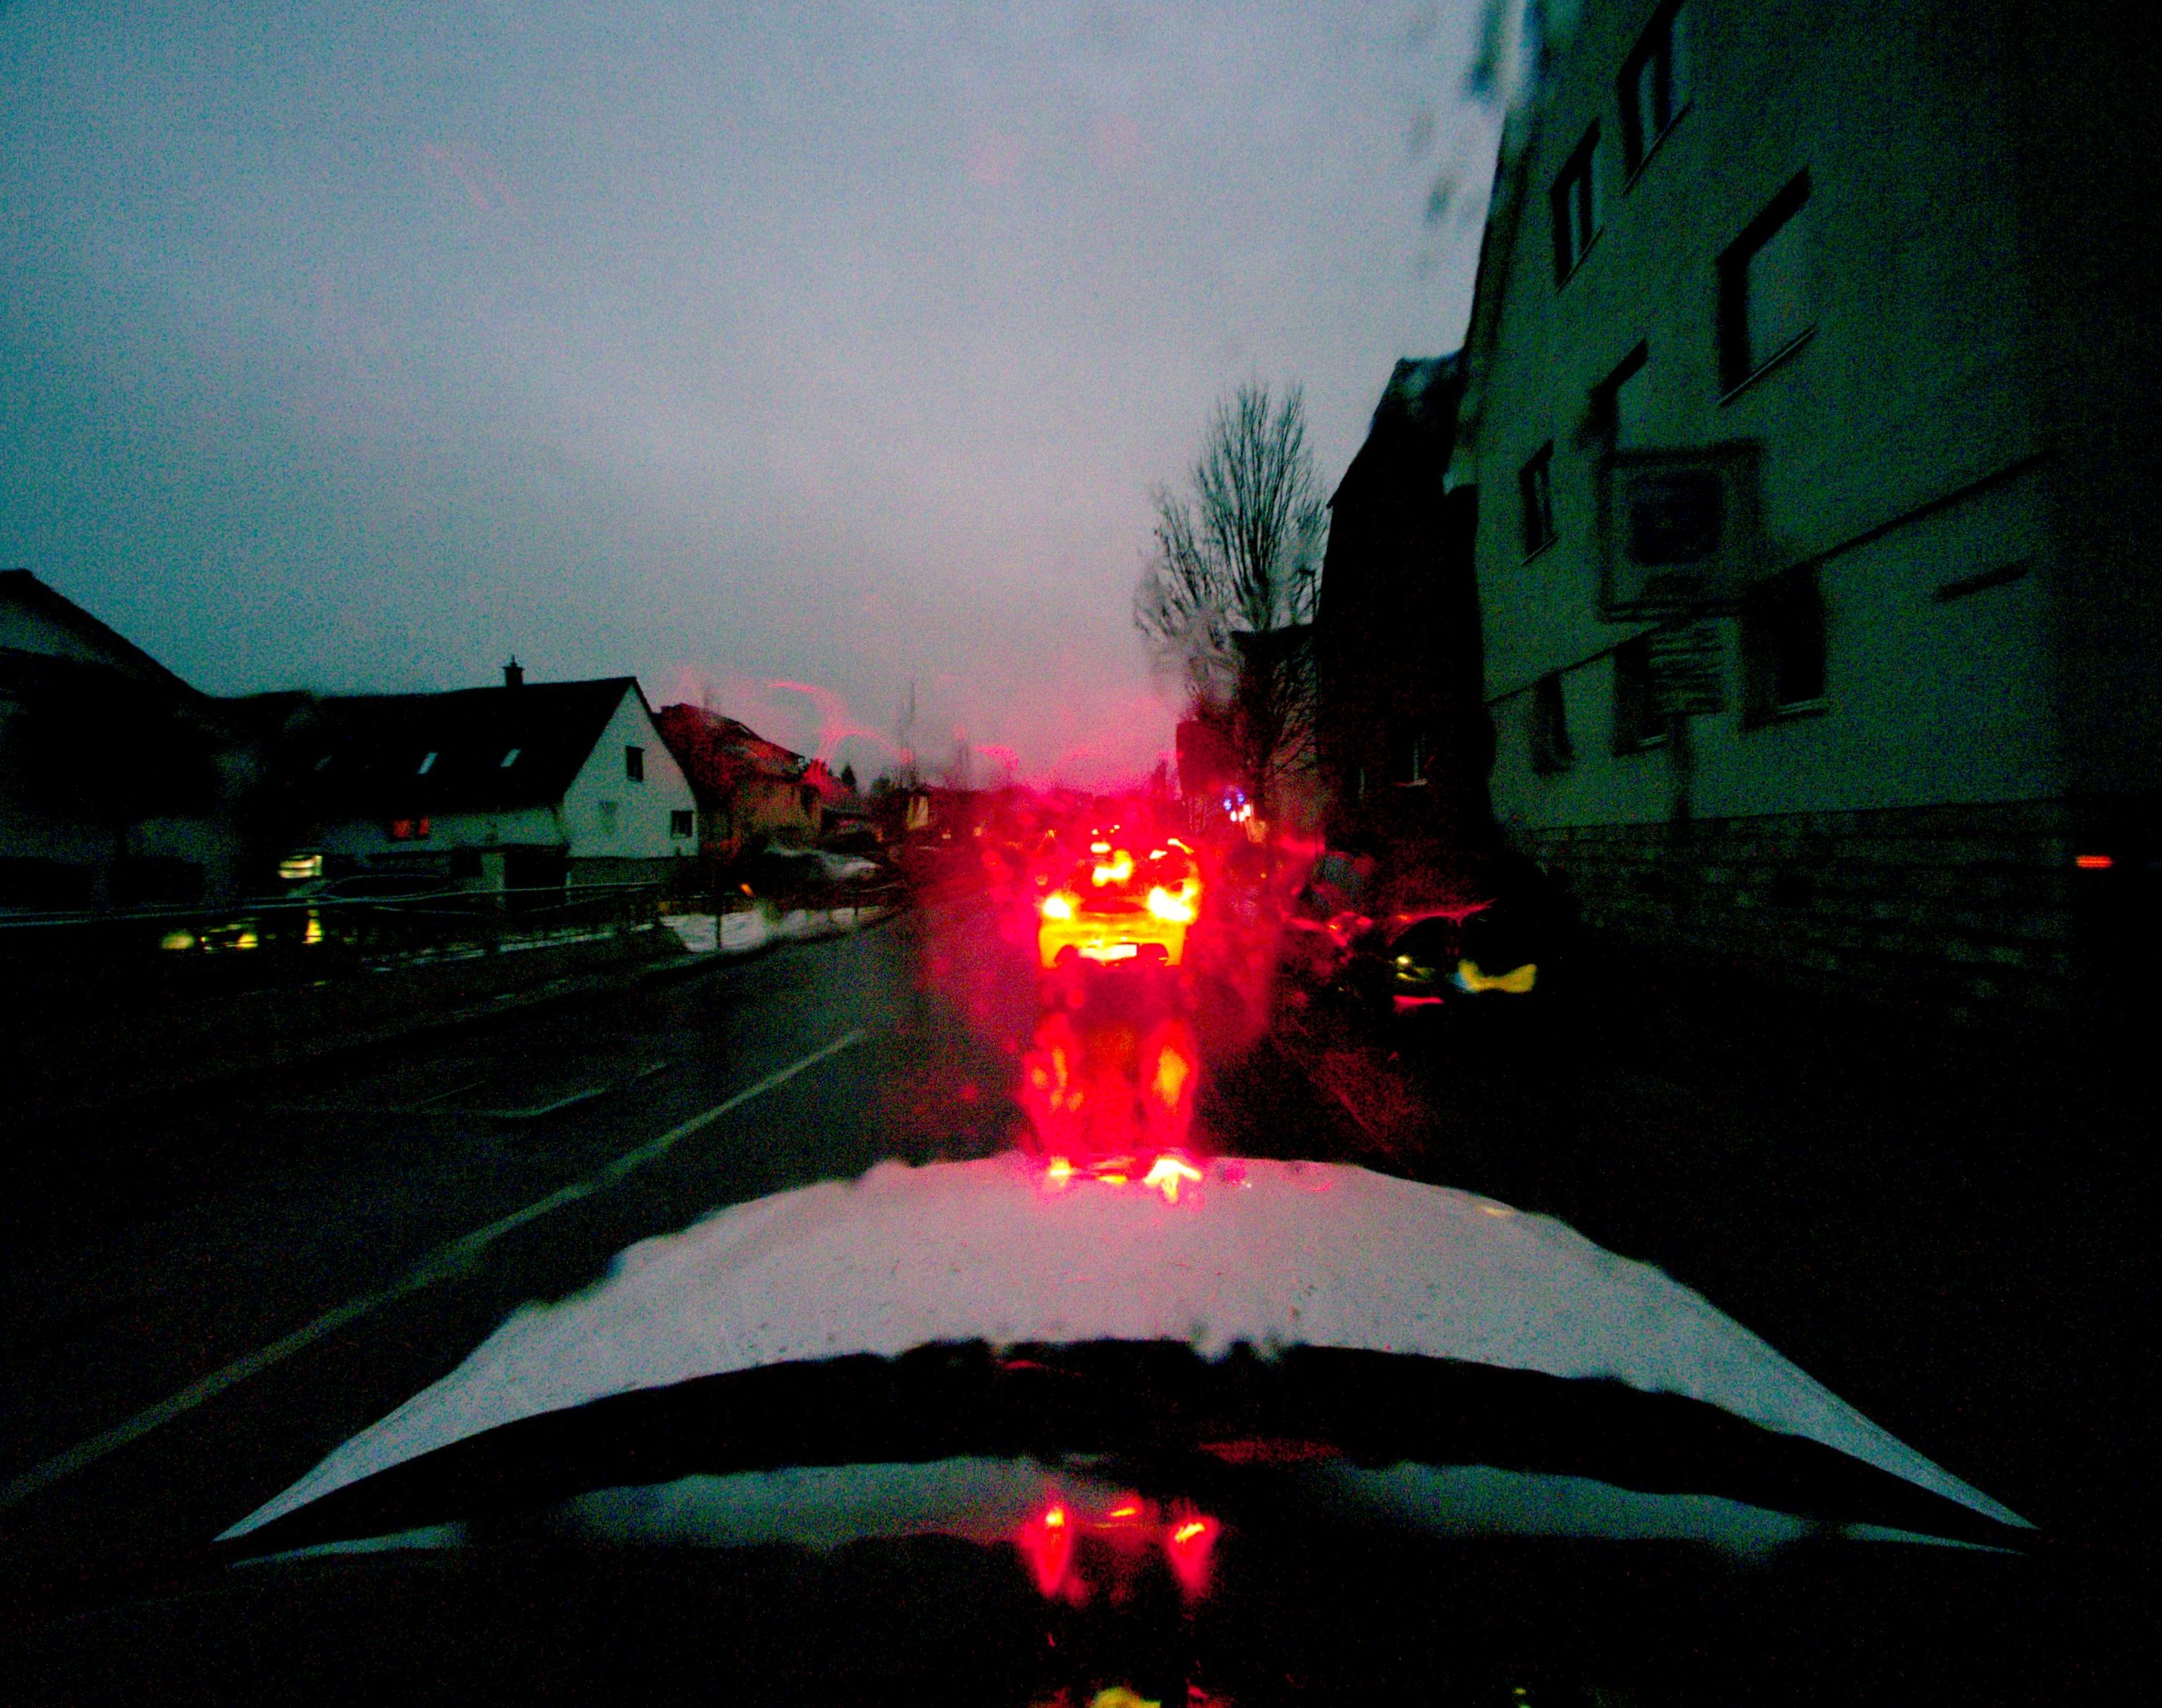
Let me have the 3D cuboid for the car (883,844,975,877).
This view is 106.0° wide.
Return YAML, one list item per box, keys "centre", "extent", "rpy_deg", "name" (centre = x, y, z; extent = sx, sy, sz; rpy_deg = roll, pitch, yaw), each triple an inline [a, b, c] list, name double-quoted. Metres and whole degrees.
- centre: [-8.332, 0.331, 44.914]
  extent: [4.611, 1.667, 1.999]
  rpy_deg: [-2, 0, -1]
  name: "car"

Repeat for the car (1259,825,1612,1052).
- centre: [2.938, 0.563, 7.814]
  extent: [1.720, 1.464, 4.204]
  rpy_deg: [-5, 1, 4]
  name: "car"

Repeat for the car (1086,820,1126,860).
- centre: [2.050, -1.093, 69.133]
  extent: [3.180, 3.032, 6.304]
  rpy_deg: [-1, -2, 1]
  name: "car"

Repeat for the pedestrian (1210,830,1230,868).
- centre: [6.494, -0.257, 38.058]
  extent: [0.707, 1.715, 1.039]
  rpy_deg: [-3, 1, 15]
  name: "pedestrian"

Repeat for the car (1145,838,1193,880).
- centre: [3.936, 0.200, 36.944]
  extent: [1.729, 1.692, 4.387]
  rpy_deg: [-2, 0, 1]
  name: "car"

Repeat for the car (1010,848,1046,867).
- centre: [-6.501, 0.427, 98.807]
  extent: [2.011, 2.167, 4.332]
  rpy_deg: [1, -3, -44]
  name: "car"

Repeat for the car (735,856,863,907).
- centre: [-8.876, 0.851, 25.826]
  extent: [3.432, 1.372, 1.601]
  rpy_deg: [-3, 0, 1]
  name: "car"

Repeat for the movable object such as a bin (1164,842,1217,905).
- centre: [2.758, 0.467, 20.724]
  extent: [1.124, 1.420, 1.419]
  rpy_deg: [-5, 1, 4]
  name: "movable object such as a bin"

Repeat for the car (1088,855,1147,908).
- centre: [1.011, 0.737, 23.134]
  extent: [1.535, 1.331, 3.313]
  rpy_deg: [-1, 1, 2]
  name: "car"

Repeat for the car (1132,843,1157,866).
- centre: [5.344, 0.068, 68.958]
  extent: [1.990, 1.865, 4.085]
  rpy_deg: [-2, 0, 2]
  name: "car"

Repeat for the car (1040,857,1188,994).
- centre: [0.409, 0.771, 10.206]
  extent: [1.557, 1.412, 3.019]
  rpy_deg: [-1, 0, 2]
  name: "car"

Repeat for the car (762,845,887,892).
- centre: [-8.992, 0.489, 28.655]
  extent: [3.772, 1.523, 1.719]
  rpy_deg: [-2, 0, 8]
  name: "car"

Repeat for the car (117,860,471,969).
- centre: [-14.122, 0.966, 15.115]
  extent: [1.794, 1.482, 4.578]
  rpy_deg: [-4, 1, 4]
  name: "car"

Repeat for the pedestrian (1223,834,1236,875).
- centre: [6.612, -0.003, 36.247]
  extent: [0.525, 1.800, 0.867]
  rpy_deg: [-1, 1, 12]
  name: "pedestrian"

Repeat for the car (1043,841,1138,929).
- centre: [0.243, 0.570, 17.187]
  extent: [1.760, 1.628, 3.588]
  rpy_deg: [-1, 1, 2]
  name: "car"

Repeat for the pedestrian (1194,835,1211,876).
- centre: [5.267, 0.060, 35.426]
  extent: [0.570, 1.699, 0.653]
  rpy_deg: [-4, 0, 3]
  name: "pedestrian"

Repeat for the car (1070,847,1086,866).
- centre: [-0.321, 0.294, 99.904]
  extent: [1.913, 2.216, 3.974]
  rpy_deg: [-1, -2, 0]
  name: "car"

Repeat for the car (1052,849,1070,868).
- centre: [-2.211, 0.531, 92.058]
  extent: [1.913, 2.028, 3.974]
  rpy_deg: [-1, -2, 0]
  name: "car"

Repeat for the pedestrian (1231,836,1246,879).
- centre: [6.161, 0.134, 31.866]
  extent: [0.525, 1.653, 0.957]
  rpy_deg: [-1, -2, 12]
  name: "pedestrian"
